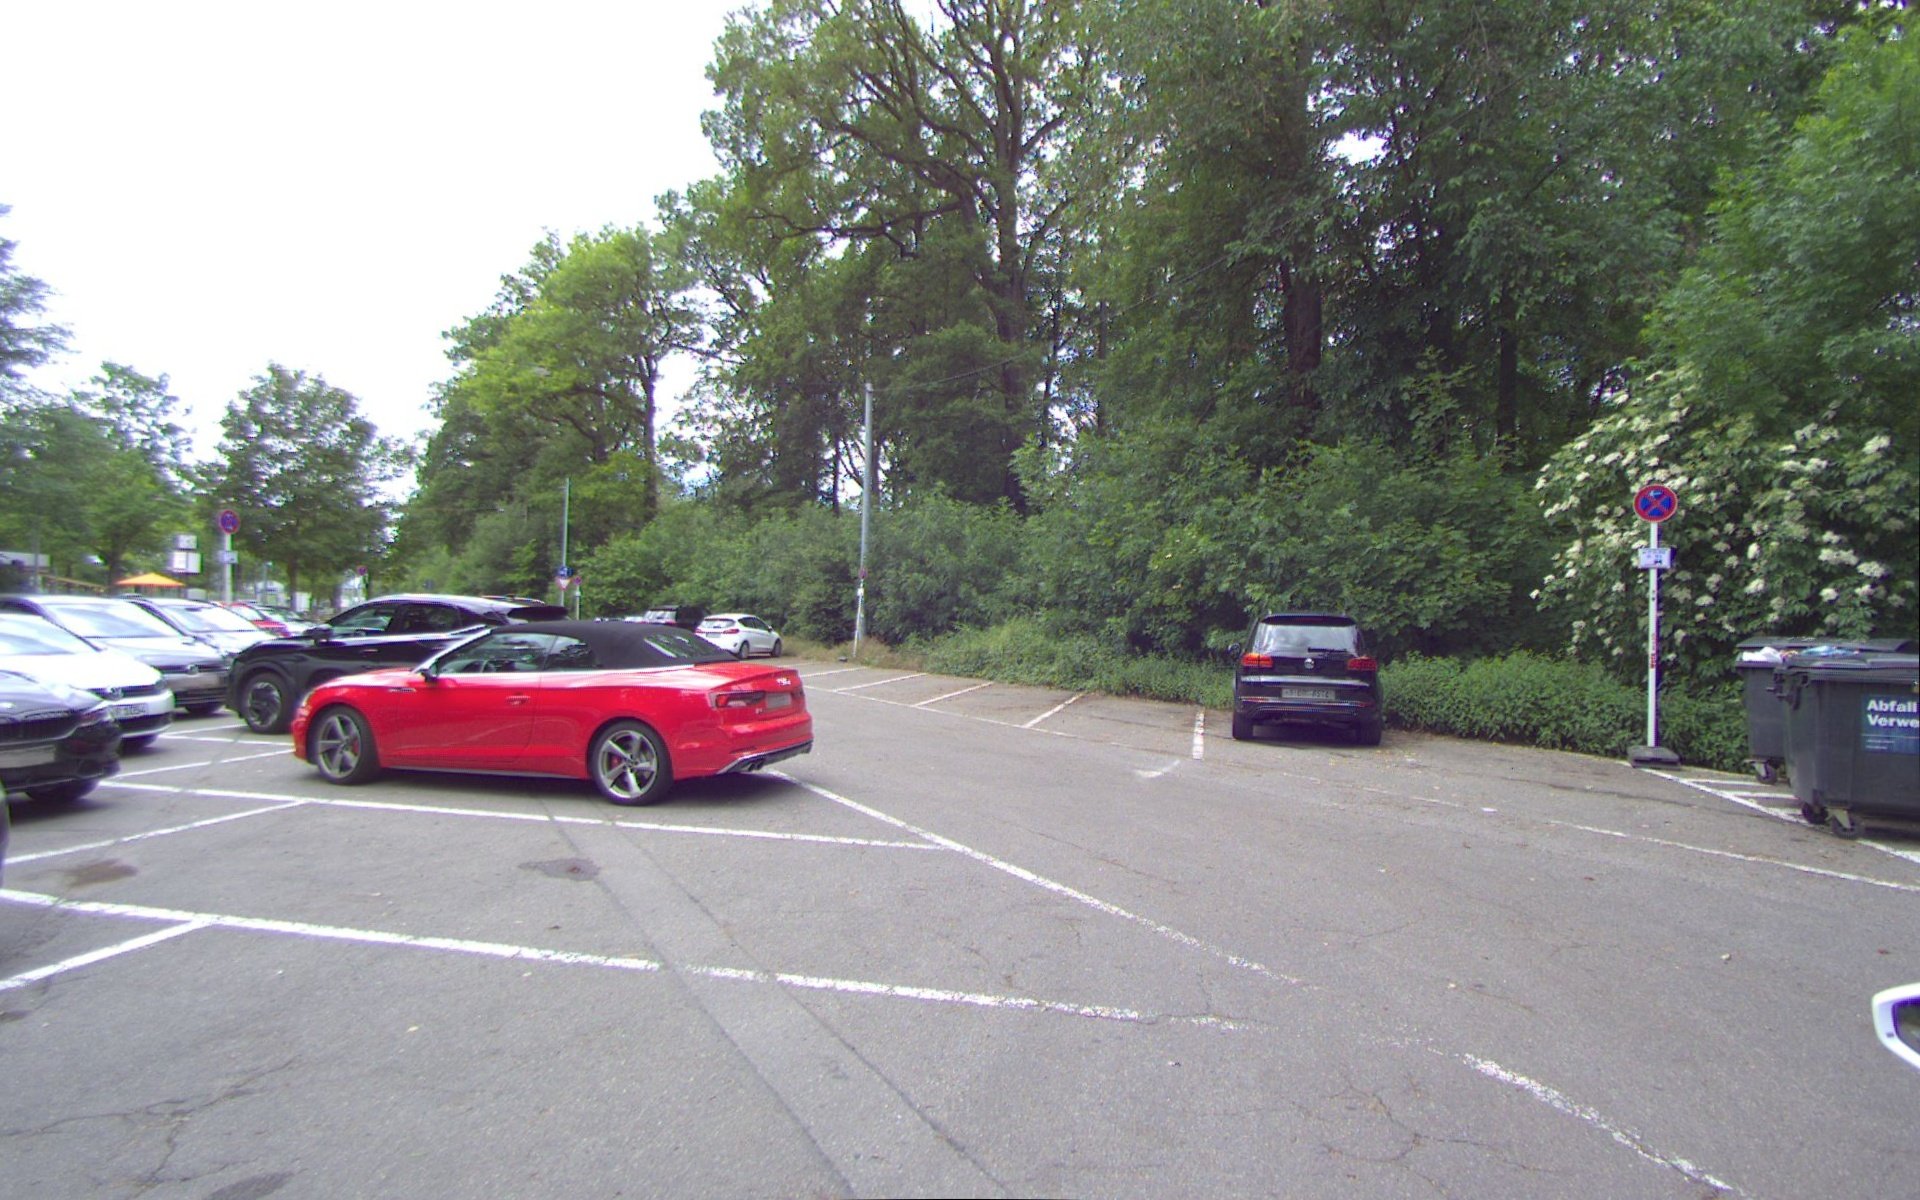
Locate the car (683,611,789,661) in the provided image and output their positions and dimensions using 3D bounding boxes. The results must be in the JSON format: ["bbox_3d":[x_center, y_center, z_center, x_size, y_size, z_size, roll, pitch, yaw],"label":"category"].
[{"bbox_3d":[-7.423,1.195,33.665,1.832,1.530,4.002,1,-1,14],"label":"car"}]

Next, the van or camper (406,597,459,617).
[{"bbox_3d":[-79.554,1.082,151.608,2.162,2.887,7.337,1,-1,24],"label":"van or camper"}]

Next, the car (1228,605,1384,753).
[{"bbox_3d":[4.675,0.983,14.042,1.748,1.707,4.074,1,-1,15],"label":"car"}]

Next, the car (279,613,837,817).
[{"bbox_3d":[-3.445,0.886,8.844,4.303,1.412,1.770,1,-1,14],"label":"car"}]

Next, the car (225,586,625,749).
[{"bbox_3d":[-6.357,0.745,12.142,3.919,1.685,1.900,1,-1,12],"label":"car"}]

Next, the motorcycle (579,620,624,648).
[{"bbox_3d":[-16.231,1.541,45.527,0.717,1.223,2.028,1,-1,24],"label":"motorcycle"}]

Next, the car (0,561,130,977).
[{"bbox_3d":[-5.940,0.612,3.952,4.299,1.630,1.831,1,-1,12],"label":"car"}]

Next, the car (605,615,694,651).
[{"bbox_3d":[-13.000,1.381,42.256,1.705,1.394,4.002,1,-1,14],"label":"car"}]

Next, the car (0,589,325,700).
[{"bbox_3d":[-12.718,0.686,16.132,3.919,1.575,1.874,1,-1,7],"label":"car"}]

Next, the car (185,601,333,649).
[{"bbox_3d":[-23.695,0.836,33.998,3.919,1.503,1.878,1,-1,11],"label":"car"}]

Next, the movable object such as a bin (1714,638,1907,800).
[{"bbox_3d":[8.380,1.127,9.925,1.113,1.444,1.122,2,-1,-28],"label":"movable object such as a bin"}]

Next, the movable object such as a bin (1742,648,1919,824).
[{"bbox_3d":[7.494,1.103,8.537,1.163,1.332,1.125,1,-1,29],"label":"movable object such as a bin"}]

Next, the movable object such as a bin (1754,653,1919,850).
[{"bbox_3d":[6.884,1.089,7.514,1.289,1.324,1.171,1,-1,29],"label":"movable object such as a bin"}]

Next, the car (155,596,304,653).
[{"bbox_3d":[-22.613,0.753,31.151,3.580,1.606,1.688,1,-1,11],"label":"car"}]

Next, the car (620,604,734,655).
[{"bbox_3d":[-10.718,1.129,38.420,2.069,1.790,4.712,1,-1,14],"label":"car"}]

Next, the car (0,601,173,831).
[{"bbox_3d":[-8.108,0.707,7.045,4.192,1.462,1.761,1,-1,12],"label":"car"}]

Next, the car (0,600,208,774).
[{"bbox_3d":[-9.696,0.730,9.800,3.768,1.462,1.774,1,-1,14],"label":"car"}]

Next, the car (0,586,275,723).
[{"bbox_3d":[-11.527,0.669,13.332,3.896,1.608,1.849,1,-2,13],"label":"car"}]
